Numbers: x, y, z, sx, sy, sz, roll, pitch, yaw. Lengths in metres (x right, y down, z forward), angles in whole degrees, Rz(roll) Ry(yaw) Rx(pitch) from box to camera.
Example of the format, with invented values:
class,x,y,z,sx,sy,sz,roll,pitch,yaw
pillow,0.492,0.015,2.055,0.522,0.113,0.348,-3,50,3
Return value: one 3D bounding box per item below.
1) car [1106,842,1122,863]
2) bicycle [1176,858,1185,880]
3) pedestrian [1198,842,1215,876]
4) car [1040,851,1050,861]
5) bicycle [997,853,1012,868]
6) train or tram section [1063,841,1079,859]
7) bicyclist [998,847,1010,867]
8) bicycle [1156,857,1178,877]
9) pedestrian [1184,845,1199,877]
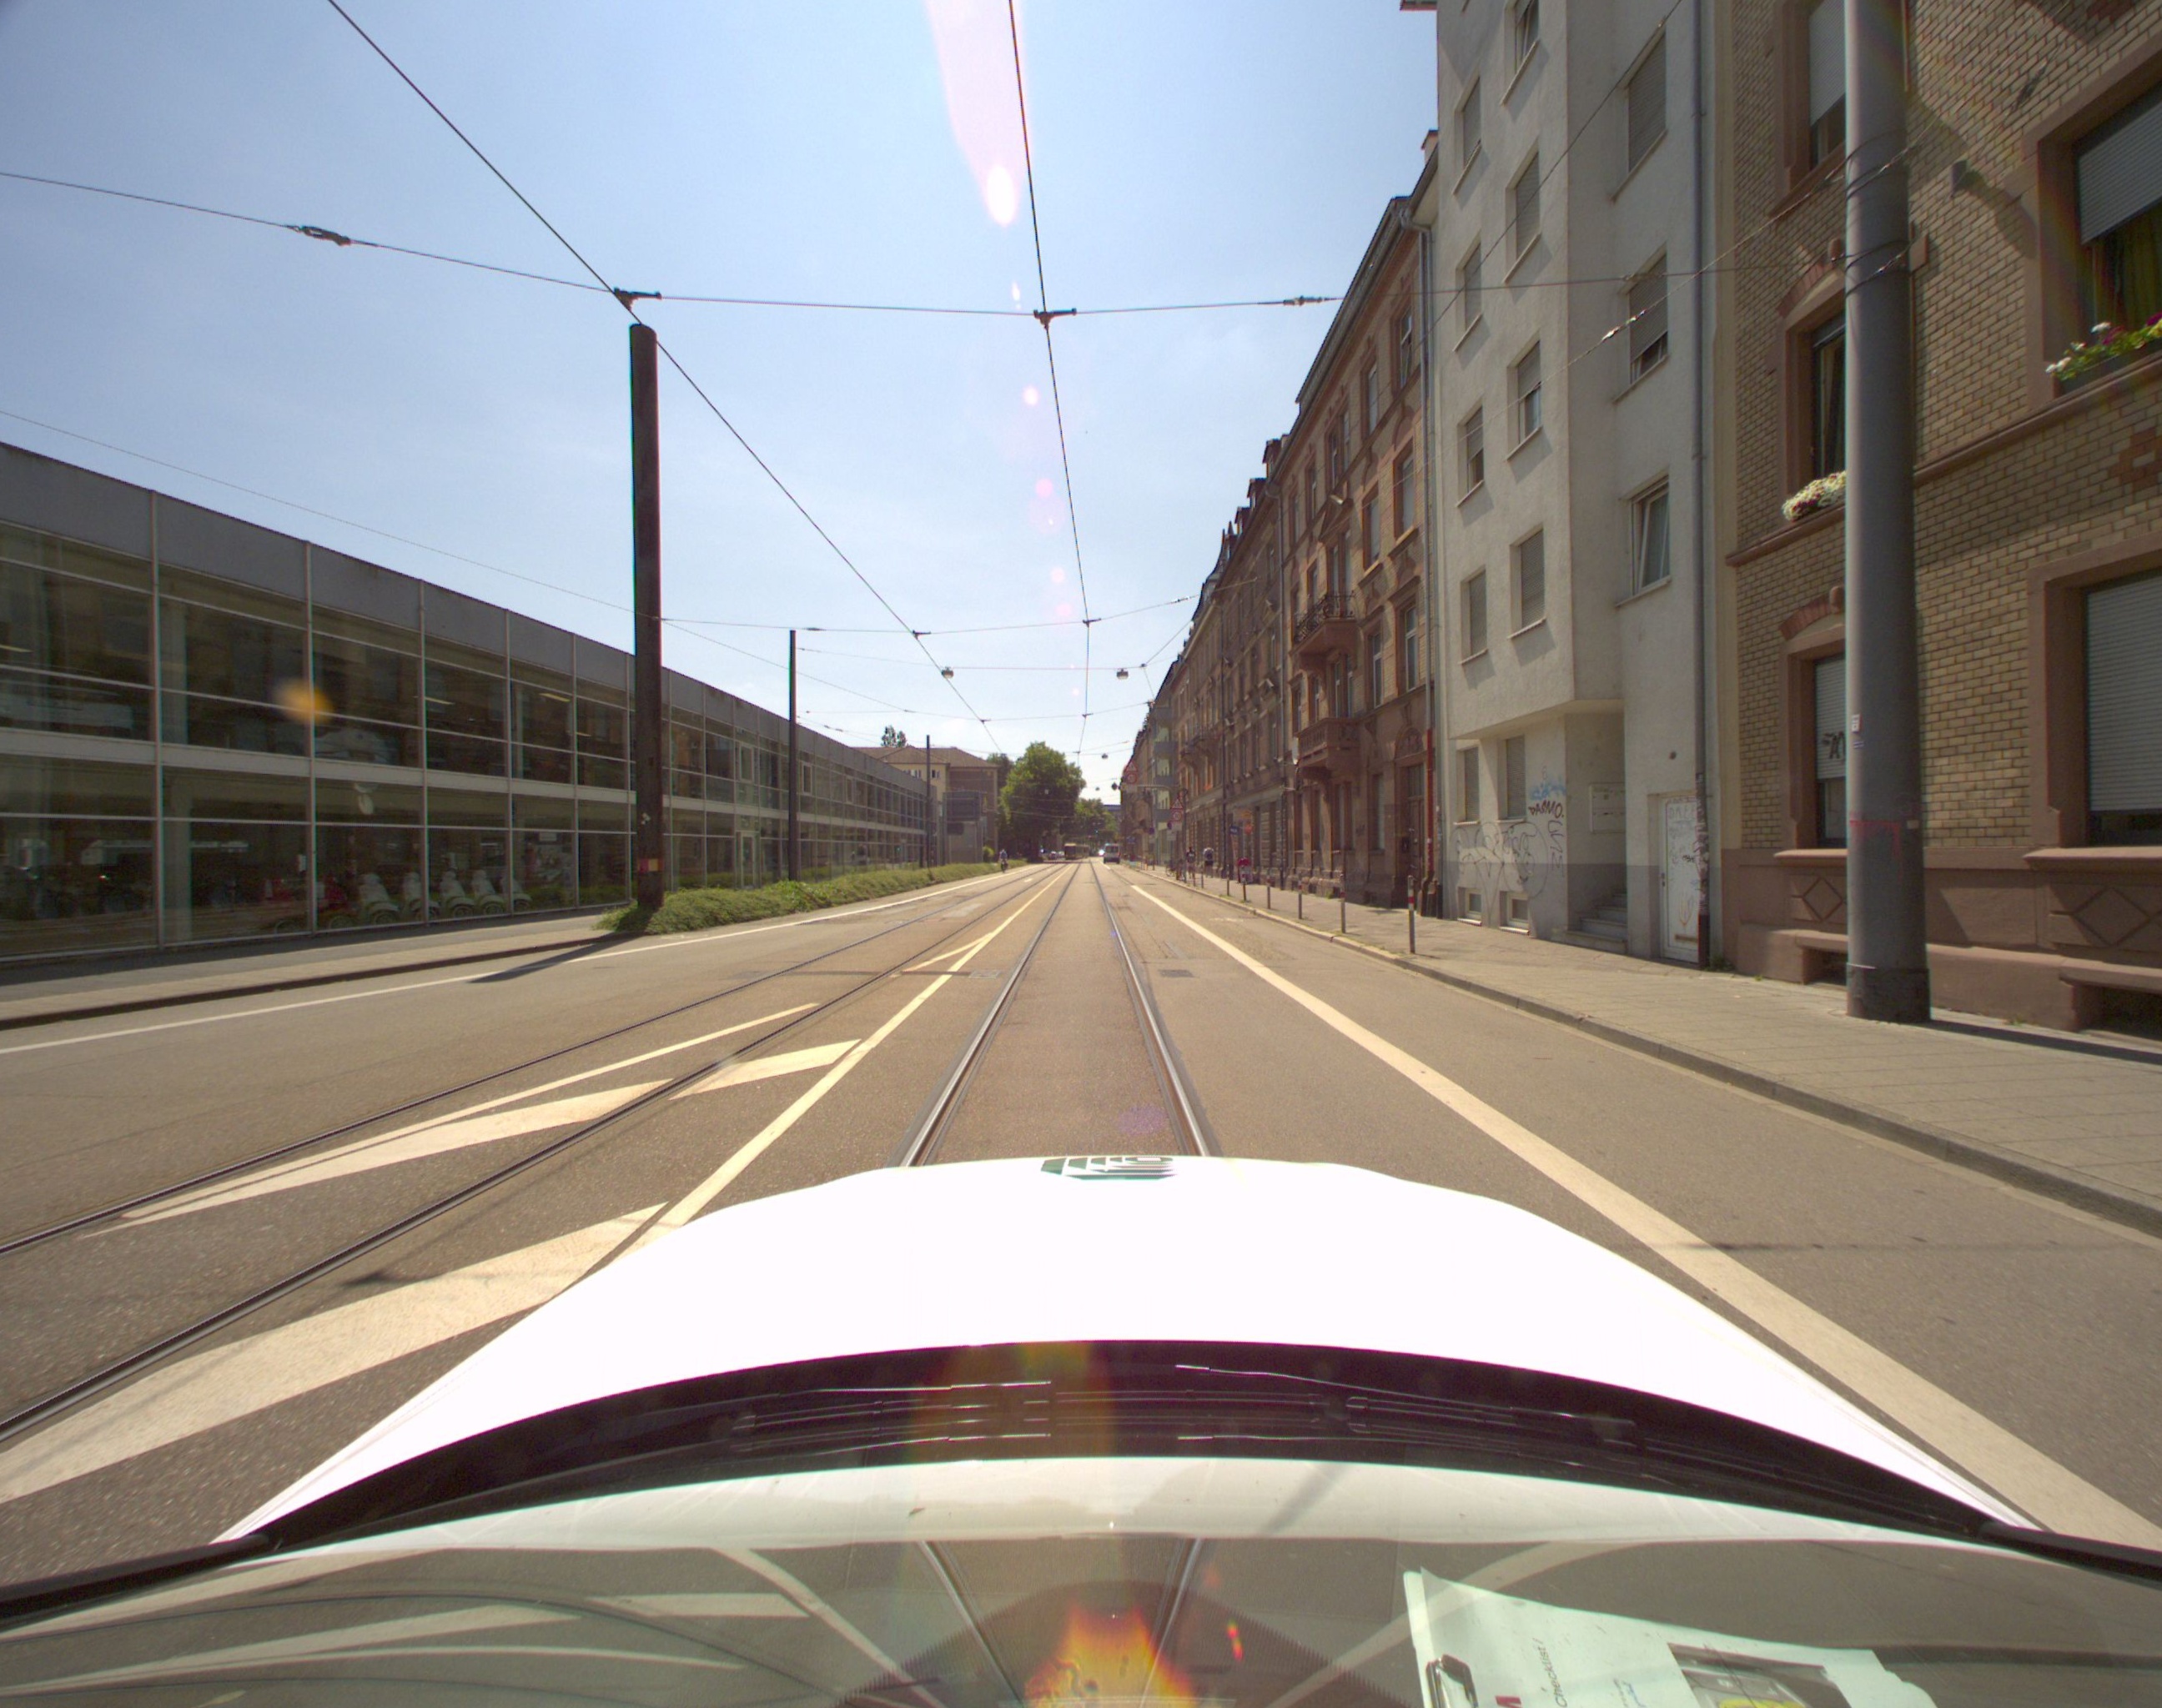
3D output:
class,x,y,z,sx,sy,sz,roll,pitch,yaw
car,4.199,-0.194,104.063,2.060,2.501,5.456,0,0,1
bicycle,5.146,0.754,42.181,0.445,1.097,2.427,-1,0,6
pedestrian,6.917,0.268,45.011,0.700,1.849,0.644,-4,0,1
car,-6.741,0.383,154.107,1.795,1.923,3.997,0,0,-2
bicycle,-6.036,0.503,64.117,0.694,1.144,2.499,-1,0,5
train or tram section,-2.029,-0.868,167.915,2.951,3.580,13.421,-1,0,0
bicyclist,-6.065,0.198,64.109,0.694,1.548,0.981,-1,0,5
bicycle,5.262,0.794,49.862,0.494,1.130,2.257,-1,0,29
pedestrian,6.108,0.379,45.036,0.717,1.720,0.644,-1,0,1
